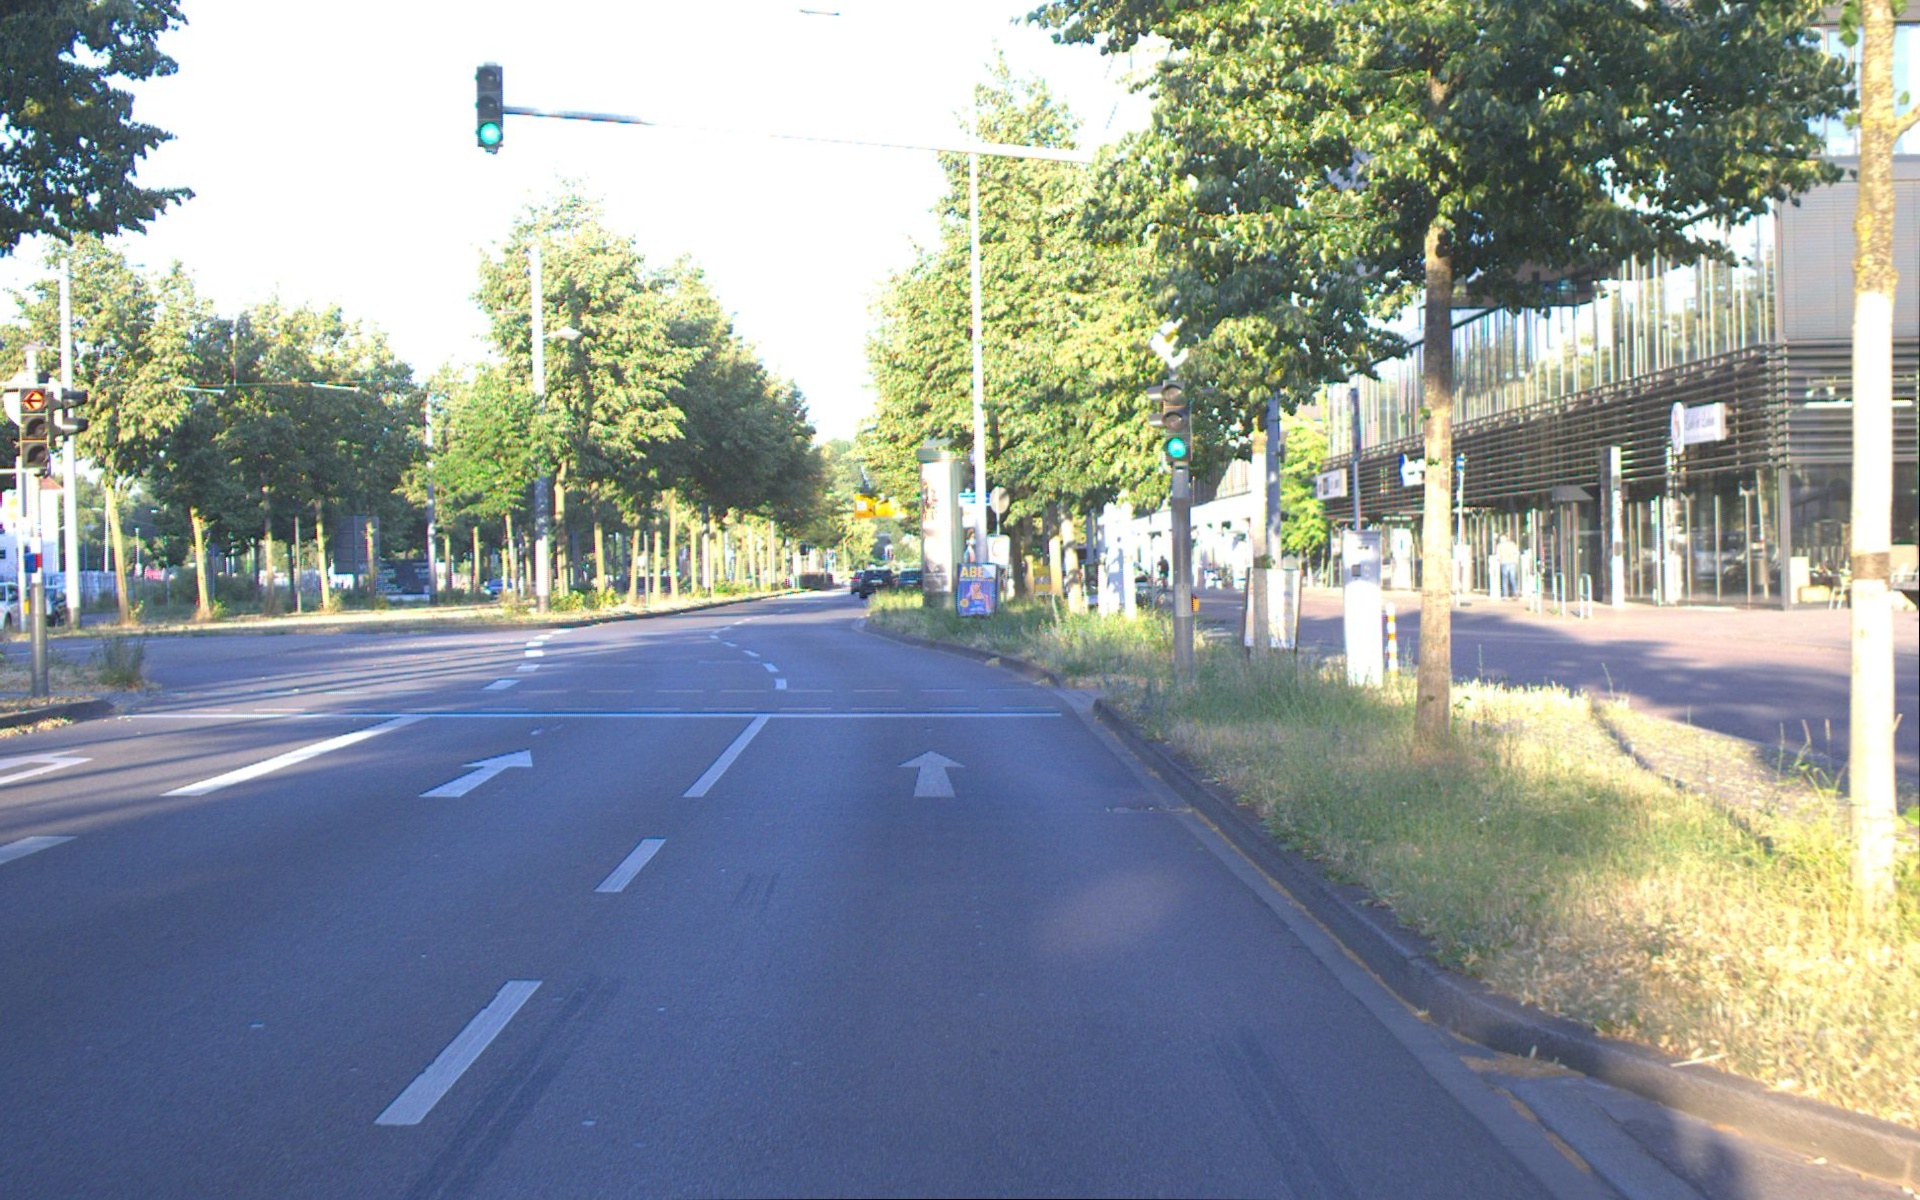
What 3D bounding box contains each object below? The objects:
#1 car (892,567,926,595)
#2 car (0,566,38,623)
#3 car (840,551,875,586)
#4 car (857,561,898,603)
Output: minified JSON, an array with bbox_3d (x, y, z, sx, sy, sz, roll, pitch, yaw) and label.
[{"bbox_3d":[-2.925,-1.105,198.381,1.872,1.568,3.677,-1,1,1],"label":"car"},{"bbox_3d":[-23.619,-0.133,83.130,1.786,1.327,3.672,-1,1,-2],"label":"car"},{"bbox_3d":[-6.257,-1.939,209.493,2.087,2.007,4.001,-1,1,-1],"label":"car"},{"bbox_3d":[-4.164,-0.907,172.913,1.993,2.007,4.001,-1,1,-1],"label":"car"}]
